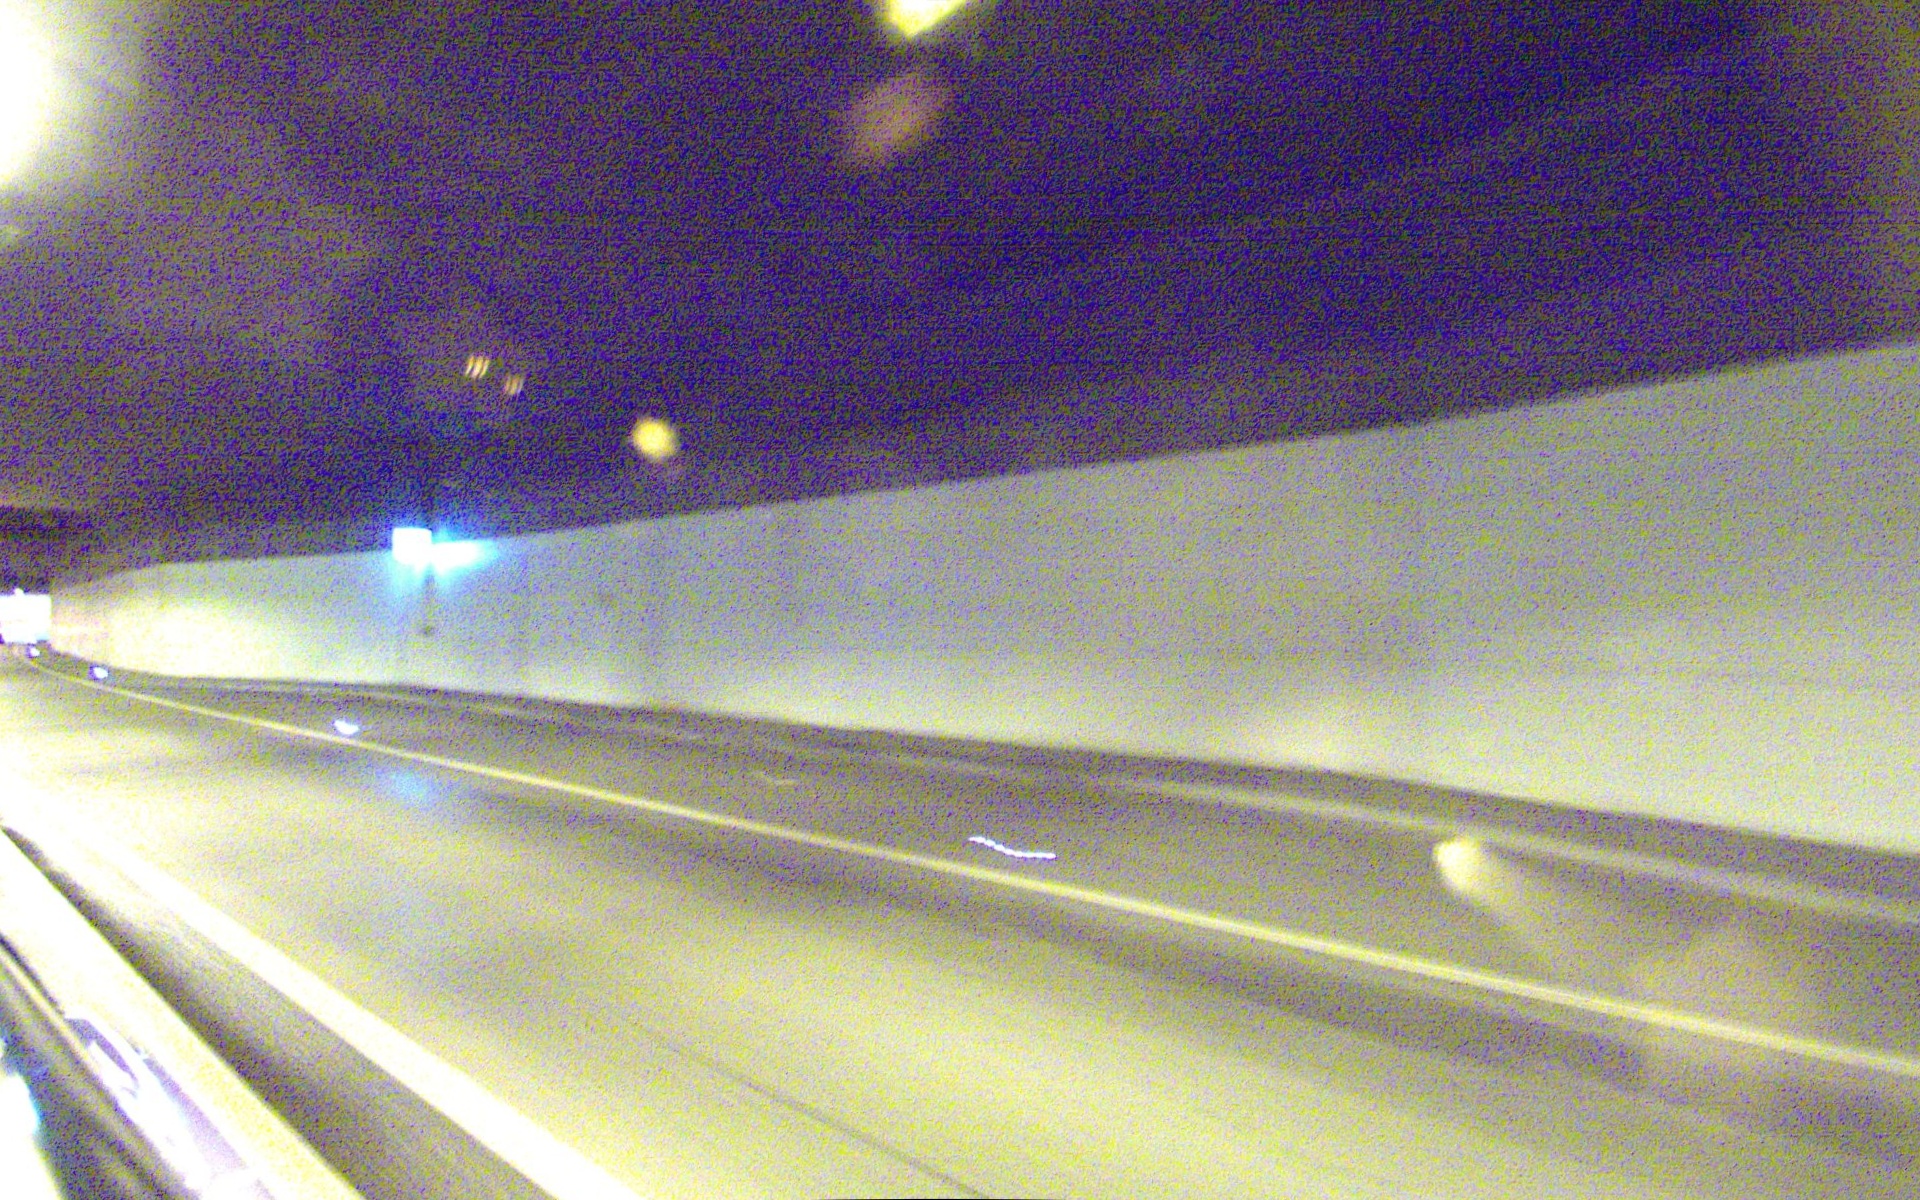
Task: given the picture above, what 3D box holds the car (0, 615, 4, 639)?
[{"bbox_3d":[-58.253,1.594,60.232,1.686,1.427,4.124,1,-2,-40],"label":"car"}]
